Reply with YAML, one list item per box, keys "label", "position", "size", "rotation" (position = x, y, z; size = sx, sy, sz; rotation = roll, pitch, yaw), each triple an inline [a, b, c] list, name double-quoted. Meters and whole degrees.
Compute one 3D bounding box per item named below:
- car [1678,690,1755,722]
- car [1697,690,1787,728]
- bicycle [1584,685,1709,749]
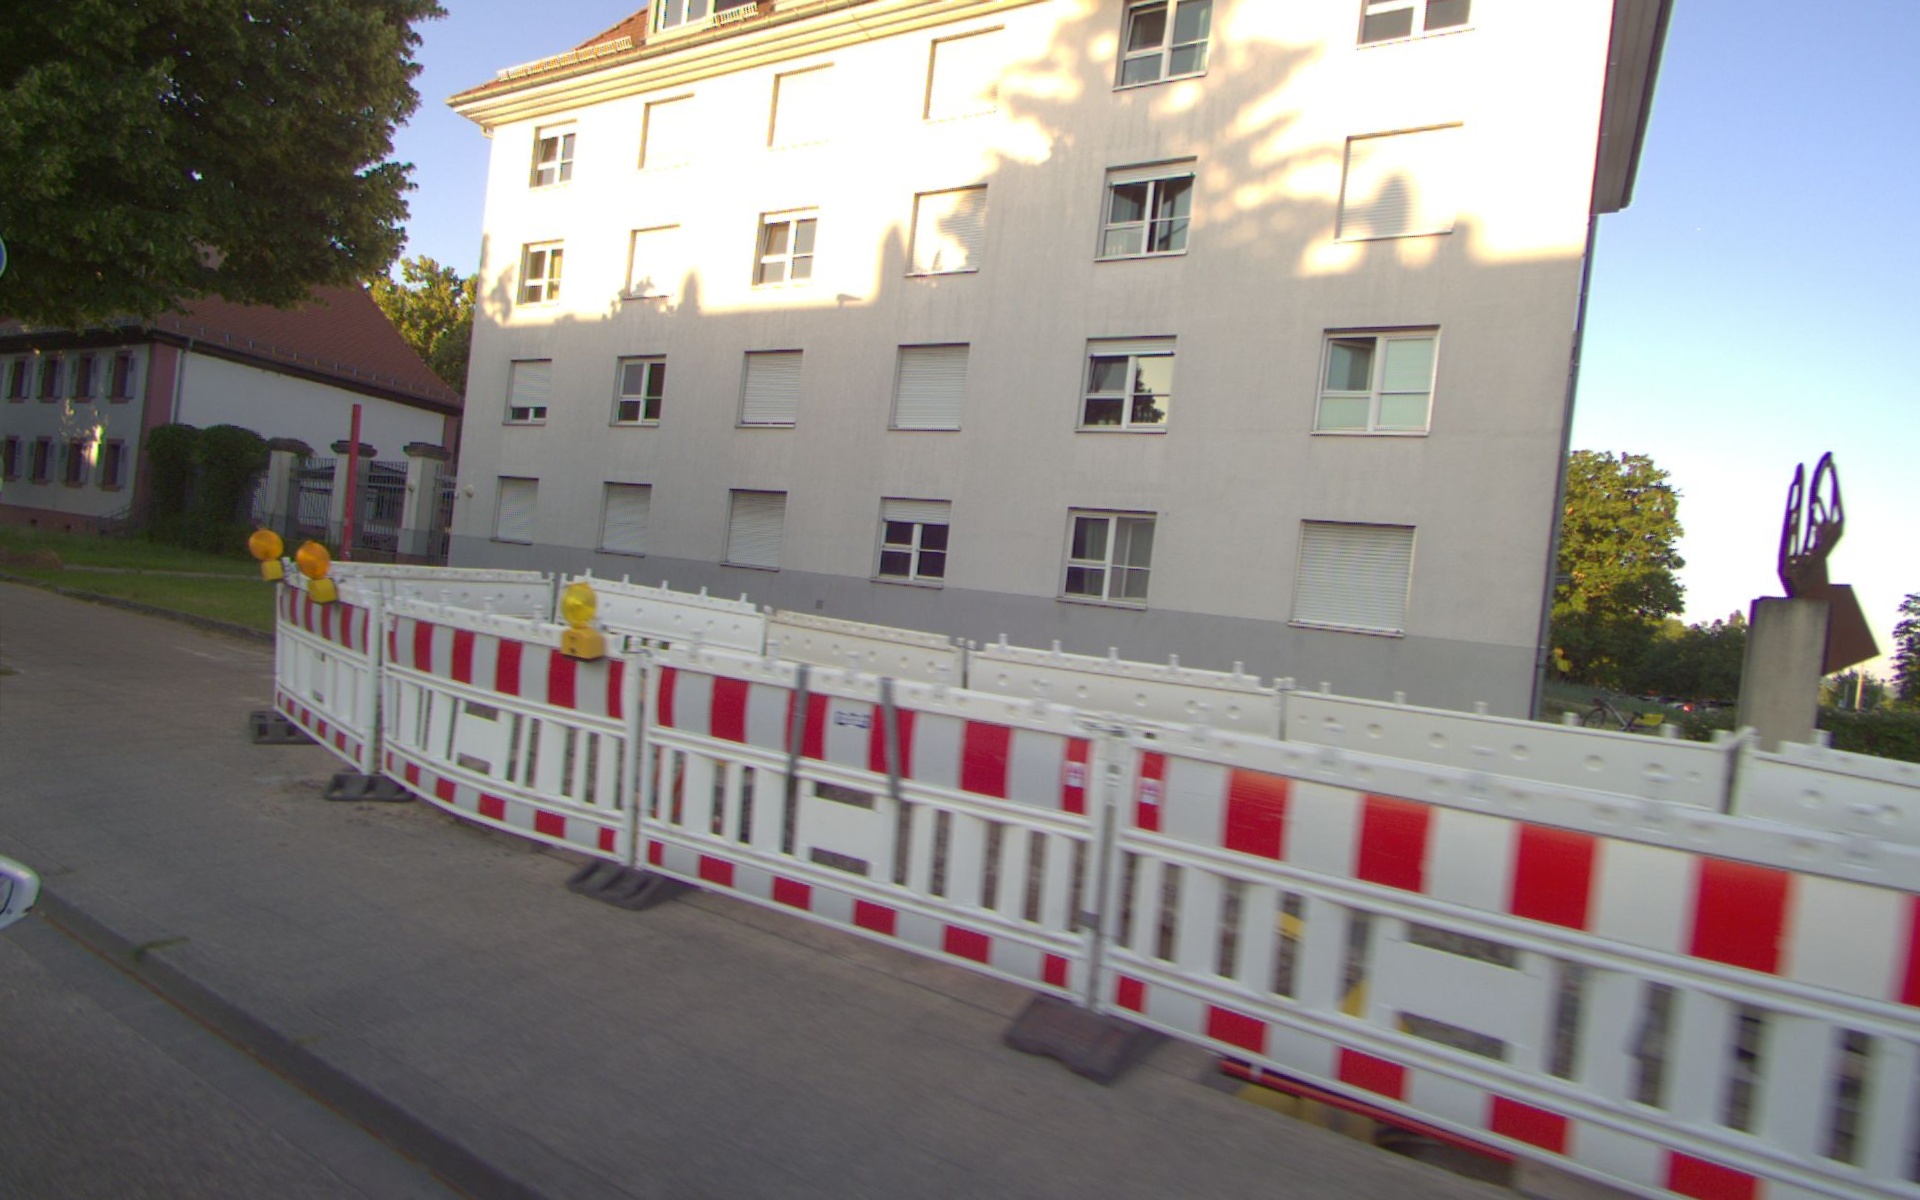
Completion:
- label: "car"
  position: [55.728, 7.791, 74.185]
  size: [4.122, 1.780, 1.729]
  rotation: [6, 0, 28]
- label: "car"
  position: [49.528, 6.889, 63.787]
  size: [4.122, 1.780, 1.729]
  rotation: [6, 0, 28]
- label: "bicycle"
  position: [15.423, 2.615, 22.675]
  size: [2.162, 1.104, 0.690]
  rotation: [6, 0, 29]
